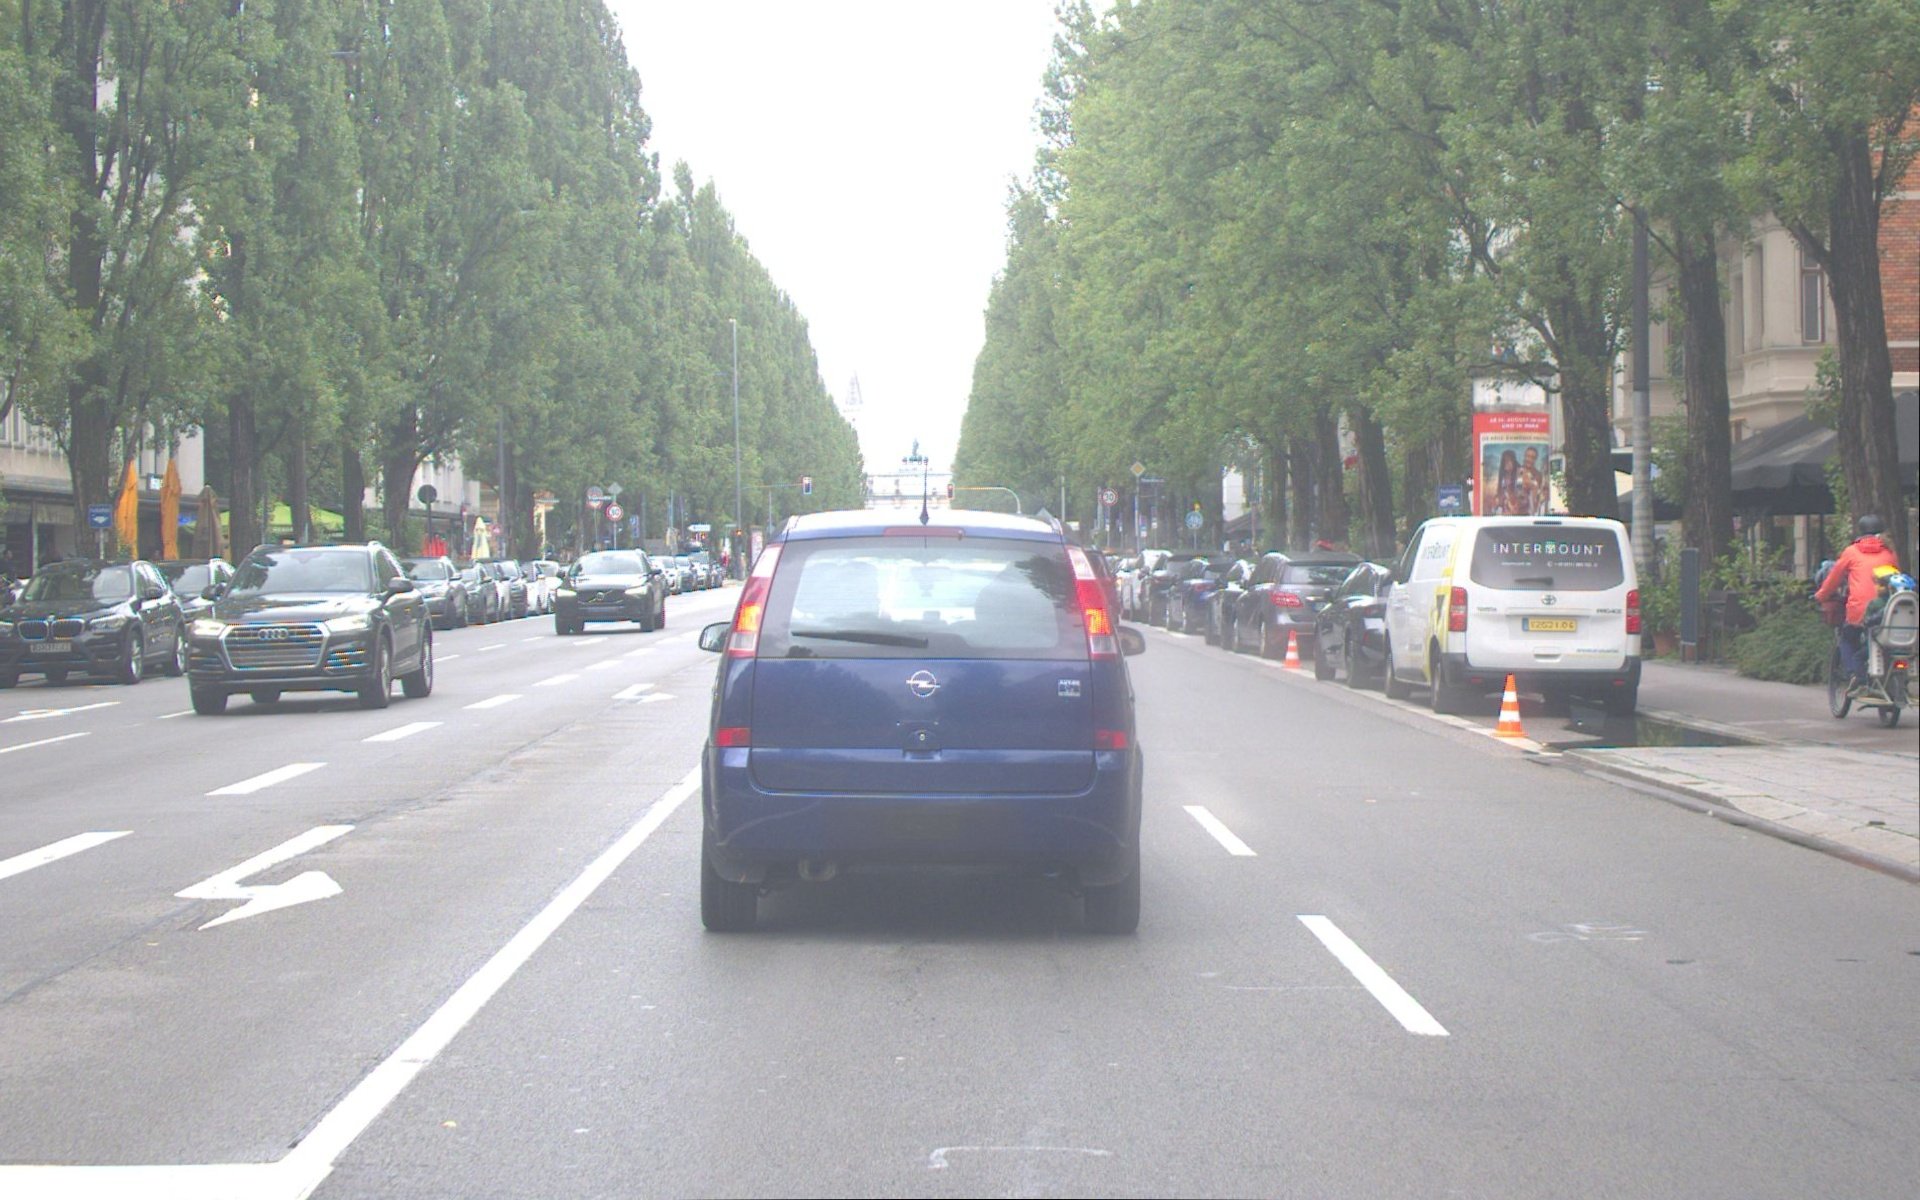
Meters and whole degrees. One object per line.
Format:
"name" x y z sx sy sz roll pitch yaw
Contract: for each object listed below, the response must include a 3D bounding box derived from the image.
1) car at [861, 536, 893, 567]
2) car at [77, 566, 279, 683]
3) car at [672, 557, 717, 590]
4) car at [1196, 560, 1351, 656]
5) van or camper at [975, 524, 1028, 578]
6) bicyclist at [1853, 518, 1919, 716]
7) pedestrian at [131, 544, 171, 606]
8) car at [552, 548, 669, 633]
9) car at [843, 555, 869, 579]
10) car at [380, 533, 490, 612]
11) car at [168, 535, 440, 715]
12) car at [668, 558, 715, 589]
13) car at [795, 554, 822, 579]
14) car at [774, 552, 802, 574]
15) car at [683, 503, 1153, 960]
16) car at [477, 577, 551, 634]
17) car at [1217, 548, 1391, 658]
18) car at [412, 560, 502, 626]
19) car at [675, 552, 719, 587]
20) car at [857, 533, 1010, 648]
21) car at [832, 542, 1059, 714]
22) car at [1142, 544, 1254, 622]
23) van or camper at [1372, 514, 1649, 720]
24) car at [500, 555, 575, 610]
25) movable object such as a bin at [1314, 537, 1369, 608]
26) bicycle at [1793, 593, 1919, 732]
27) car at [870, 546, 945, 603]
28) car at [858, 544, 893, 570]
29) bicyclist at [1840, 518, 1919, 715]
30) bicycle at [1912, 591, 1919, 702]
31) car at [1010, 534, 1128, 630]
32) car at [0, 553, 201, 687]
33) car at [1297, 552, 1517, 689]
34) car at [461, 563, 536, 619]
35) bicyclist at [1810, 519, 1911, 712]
"car" -4.780 -2.817 198.626 1.835 1.755 3.779 -1 1 -1
"car" -11.532 0.326 51.002 1.803 1.589 4.631 -2 1 1
"car" -12.782 -1.297 165.808 1.961 1.543 3.779 -1 1 -1
"car" 4.968 0.096 55.087 1.878 1.427 4.805 -1 1 -2
"van or camper" 2.044 -2.421 170.263 2.476 2.572 5.844 -1 1 0
"bicyclist" 7.580 0.133 27.752 0.621 1.583 0.391 -1 1 -1
"pedestrian" -22.847 -0.713 97.122 0.852 1.738 1.148 -1 1 0
"car" -6.927 -0.211 68.513 1.935 1.618 4.337 -1 1 -1
"car" -7.417 -2.385 245.142 1.835 1.671 3.779 -1 1 -1
"car" -11.992 -0.642 78.734 1.864 1.649 4.616 -3 1 -2
"car" -6.529 0.197 34.693 1.913 1.675 4.586 -1 1 -1
"car" -12.620 -1.240 161.543 1.961 1.395 3.779 -1 1 -1
"car" -10.862 -2.414 246.906 1.835 1.733 3.779 -1 1 -1
"car" -12.628 -2.735 252.951 1.961 1.543 3.779 -1 1 -1
"car" -0.205 0.441 14.362 1.681 1.635 4.000 0 1 -2
"car" -12.500 0.153 96.457 1.573 1.528 2.922 -1 1 2
"car" 4.964 0.012 50.135 1.816 1.501 4.233 -1 1 -4
"car" -12.228 -0.191 83.749 1.697 1.545 4.083 -1 1 -2
"car" -13.151 -1.538 172.188 1.993 1.656 4.000 -1 1 -1
"car" -0.401 -0.163 47.380 1.993 1.492 4.000 -1 1 -1
"car" -0.180 0.214 32.392 1.993 1.492 4.000 -1 1 -1
"car" 4.514 -0.347 65.717 1.750 1.400 4.465 -1 1 -1
"van or camper" 5.312 0.124 33.796 1.868 1.876 4.903 0 1 -1
"car" -12.328 -0.521 100.496 1.835 1.541 4.087 -1 1 -3
"movable object such as a bin" 9.302 -0.670 83.906 1.032 1.697 1.587 -1 1 -4
"bicycle" 7.568 0.498 28.690 0.626 1.083 2.264 -1 1 -1
"car" -1.454 -0.711 93.845 1.993 1.492 4.000 -1 1 -1
"car" -4.730 -2.432 192.910 1.961 1.395 3.779 -1 1 -1
"bicyclist" 7.572 0.130 28.084 0.621 1.583 0.481 -1 1 -1
"bicycle" 9.173 0.446 31.983 0.364 1.034 1.730 0 1 7
"car" 1.838 -0.332 58.824 1.706 1.568 4.001 0 1 -3
"car" -11.636 0.231 46.138 1.820 1.612 4.716 -1 2 0
"car" 5.033 0.189 39.248 1.719 1.437 4.354 1 1 -3
"car" -12.116 -0.251 90.365 1.631 1.423 2.984 -1 1 -2
"bicyclist" 7.549 0.124 28.840 0.621 1.583 0.753 -1 1 -1
